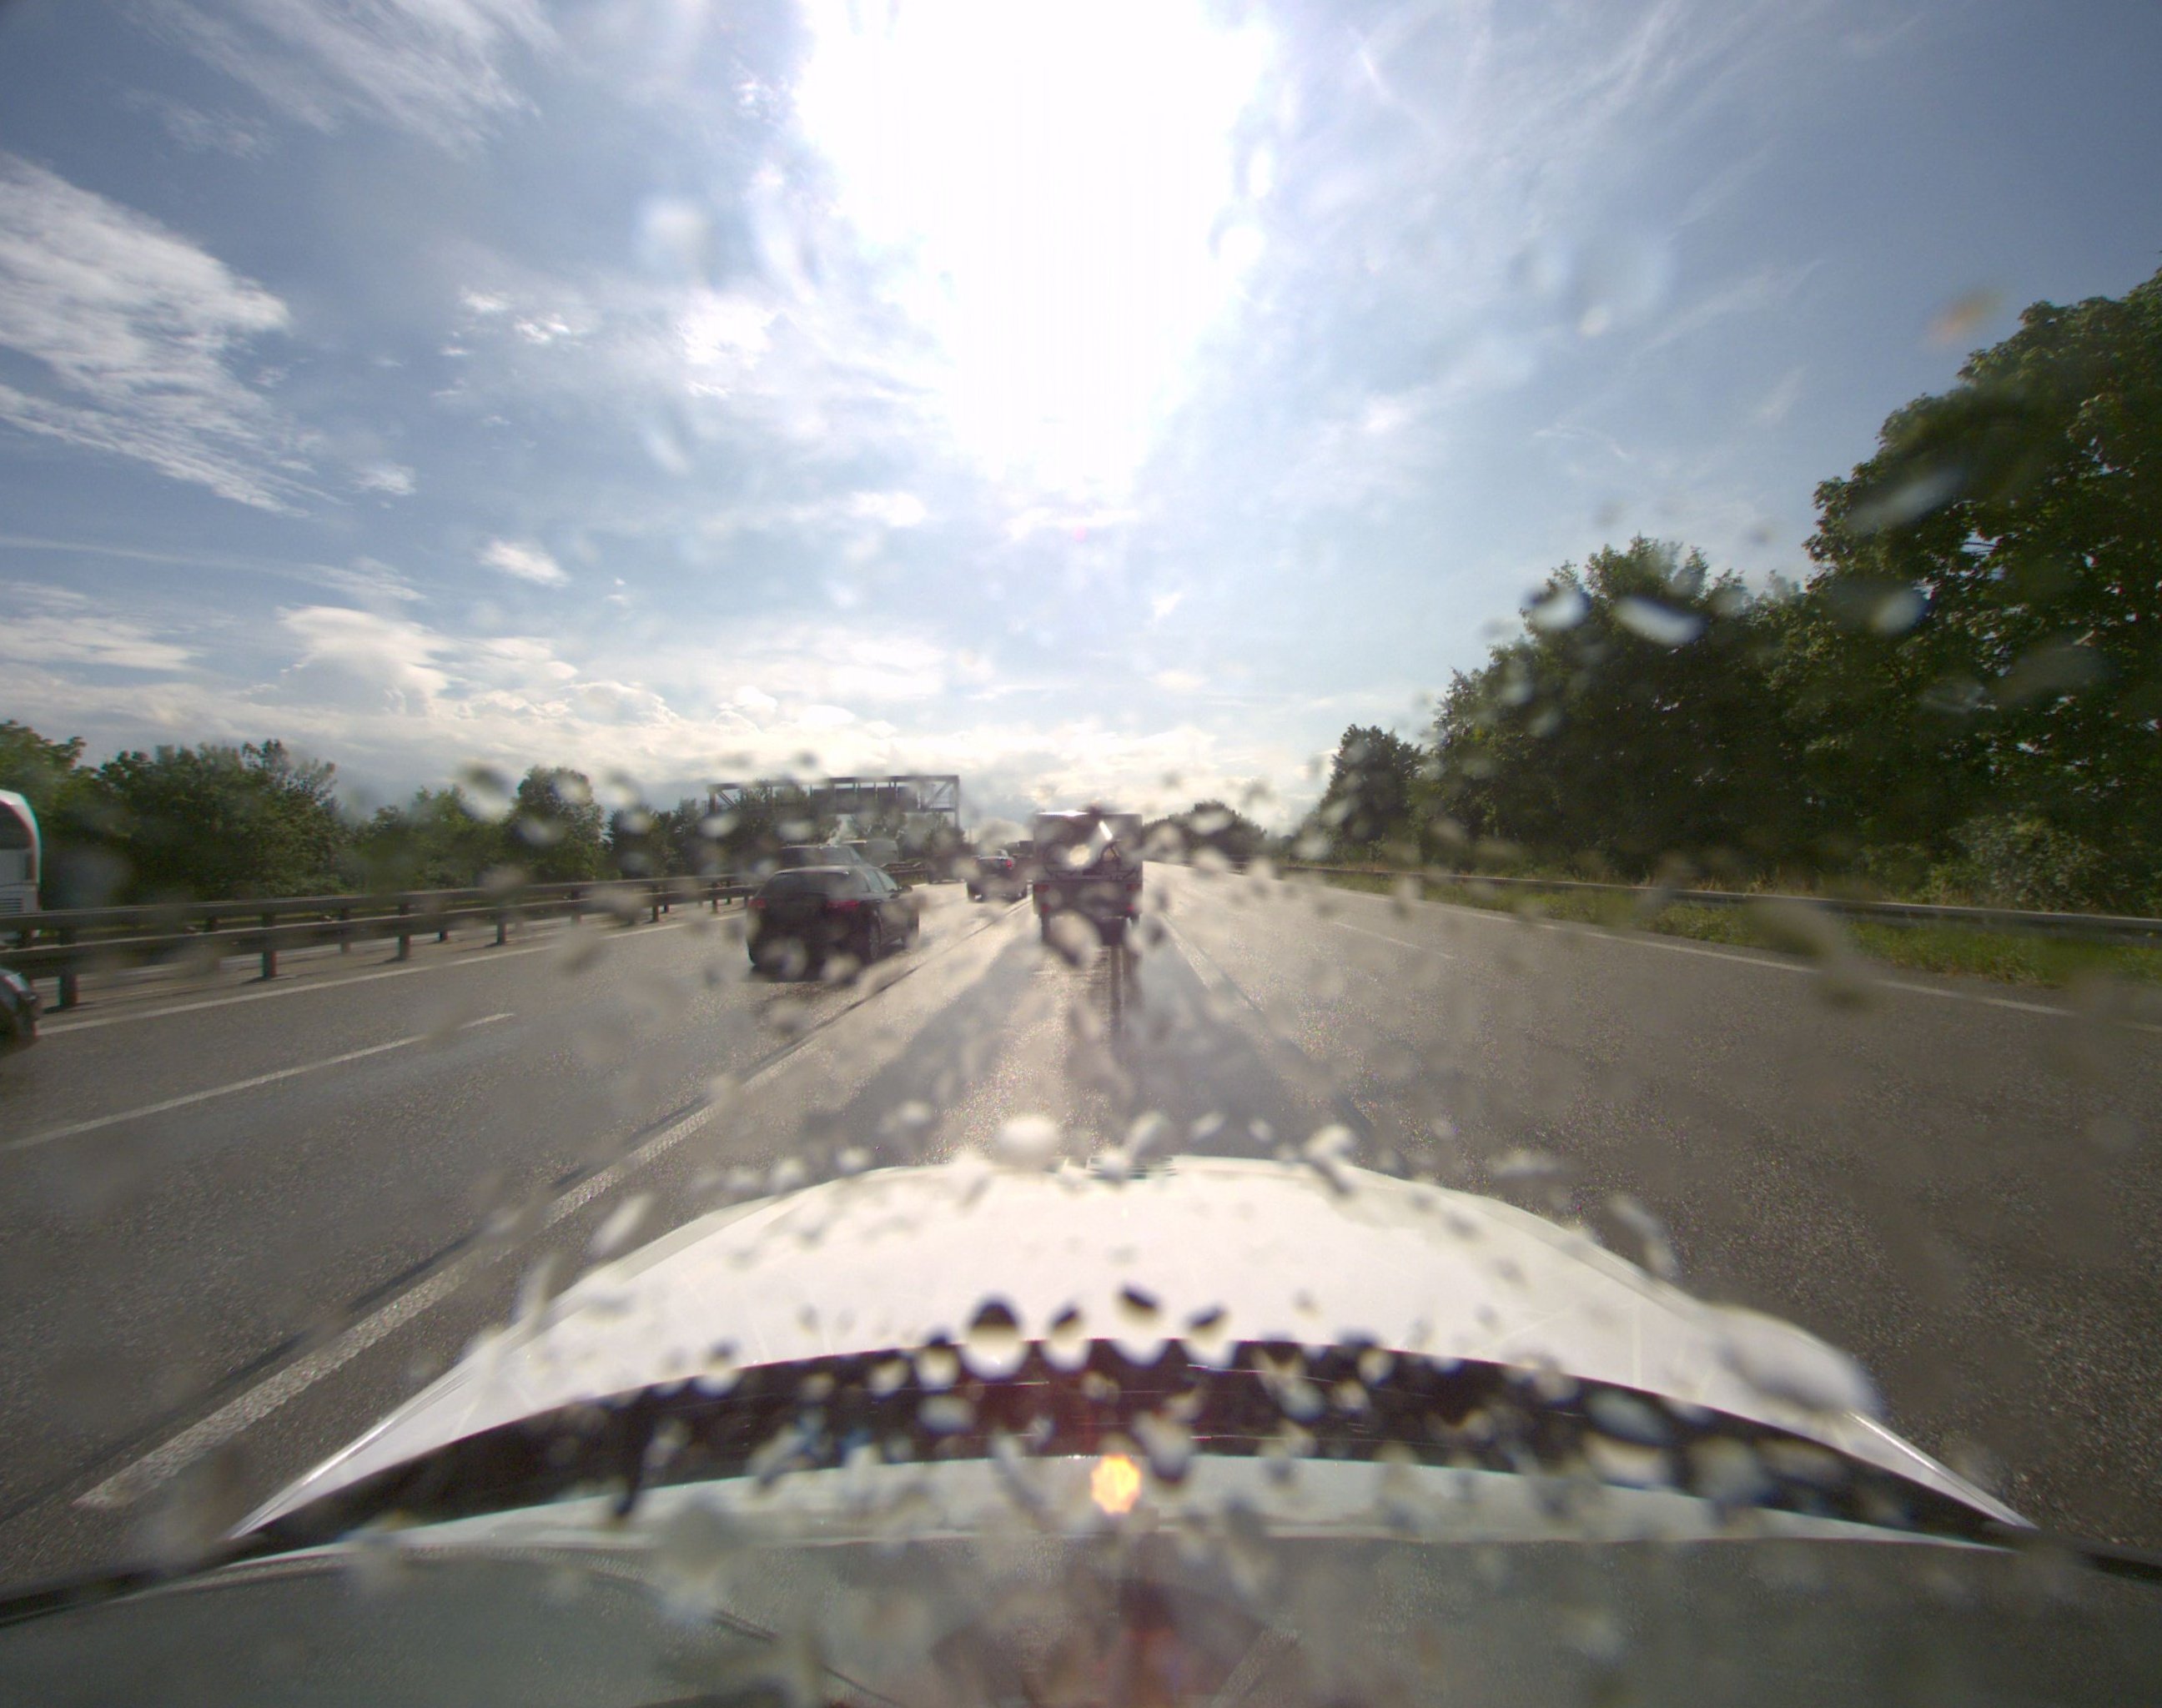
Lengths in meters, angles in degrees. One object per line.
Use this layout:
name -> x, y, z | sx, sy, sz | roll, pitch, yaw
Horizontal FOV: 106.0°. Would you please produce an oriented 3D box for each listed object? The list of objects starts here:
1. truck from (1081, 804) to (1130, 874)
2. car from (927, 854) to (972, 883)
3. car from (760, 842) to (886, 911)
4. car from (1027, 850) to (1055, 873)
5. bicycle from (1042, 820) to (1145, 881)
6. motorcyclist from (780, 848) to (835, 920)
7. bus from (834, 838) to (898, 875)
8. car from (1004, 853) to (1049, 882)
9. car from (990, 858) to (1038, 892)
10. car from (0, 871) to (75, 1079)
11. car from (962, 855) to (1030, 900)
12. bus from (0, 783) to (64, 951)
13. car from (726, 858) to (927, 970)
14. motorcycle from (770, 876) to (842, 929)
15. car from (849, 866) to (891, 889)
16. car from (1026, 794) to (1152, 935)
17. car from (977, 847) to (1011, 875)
truck -> 1.728, -0.979, 59.349 | 3.135, 4.626, 10.738 | -1, 0, 1
car -> -7.325, 0.776, 45.736 | 1.777, 1.578, 3.916 | -1, 0, 1
car -> -7.568, 0.603, 24.546 | 1.799, 1.844, 5.422 | -1, 0, 3
car -> -2.886, 0.525, 59.579 | 1.682, 1.662, 3.642 | -1, 0, 2
bicycle -> 0.247, -0.063, 15.413 | 1.925, 1.141, 0.384 | 0, -1, 3
motorcyclist -> -6.017, 0.635, 17.977 | 0.793, 1.537, 1.093 | -1, 0, 2
bus -> -20.589, 0.229, 79.038 | 2.930, 3.286, 12.209 | -1, 0, 0
car -> -2.909, 0.700, 44.145 | 1.979, 1.458, 3.829 | -1, 0, 3
car -> -3.132, 0.944, 38.624 | 1.856, 1.508, 4.001 | -1, 0, 1
car -> -8.450, 0.848, 3.843 | 1.913, 1.425, 4.373 | -1, 0, 1
car -> -2.898, 0.762, 28.643 | 1.751, 1.443, 4.003 | -1, 0, 3
bus -> -23.394, 0.279, 11.196 | 2.880, 3.374, 12.475 | -1, 0, 2
car -> -3.744, 0.808, 12.794 | 1.743, 1.433, 4.056 | -1, 0, 2
motorcycle -> -6.005, 1.033, 17.937 | 0.688, 1.027, 2.389 | -1, 0, 2
car -> -14.511, 1.615, 56.312 | 1.769, 1.442, 4.001 | -1, 0, 1
car -> 0.246, 0.214, 17.615 | 2.401, 2.674, 4.003 | 0, 0, 3
car -> -6.439, 0.482, 60.726 | 1.841, 1.934, 5.018 | -1, 0, 1
